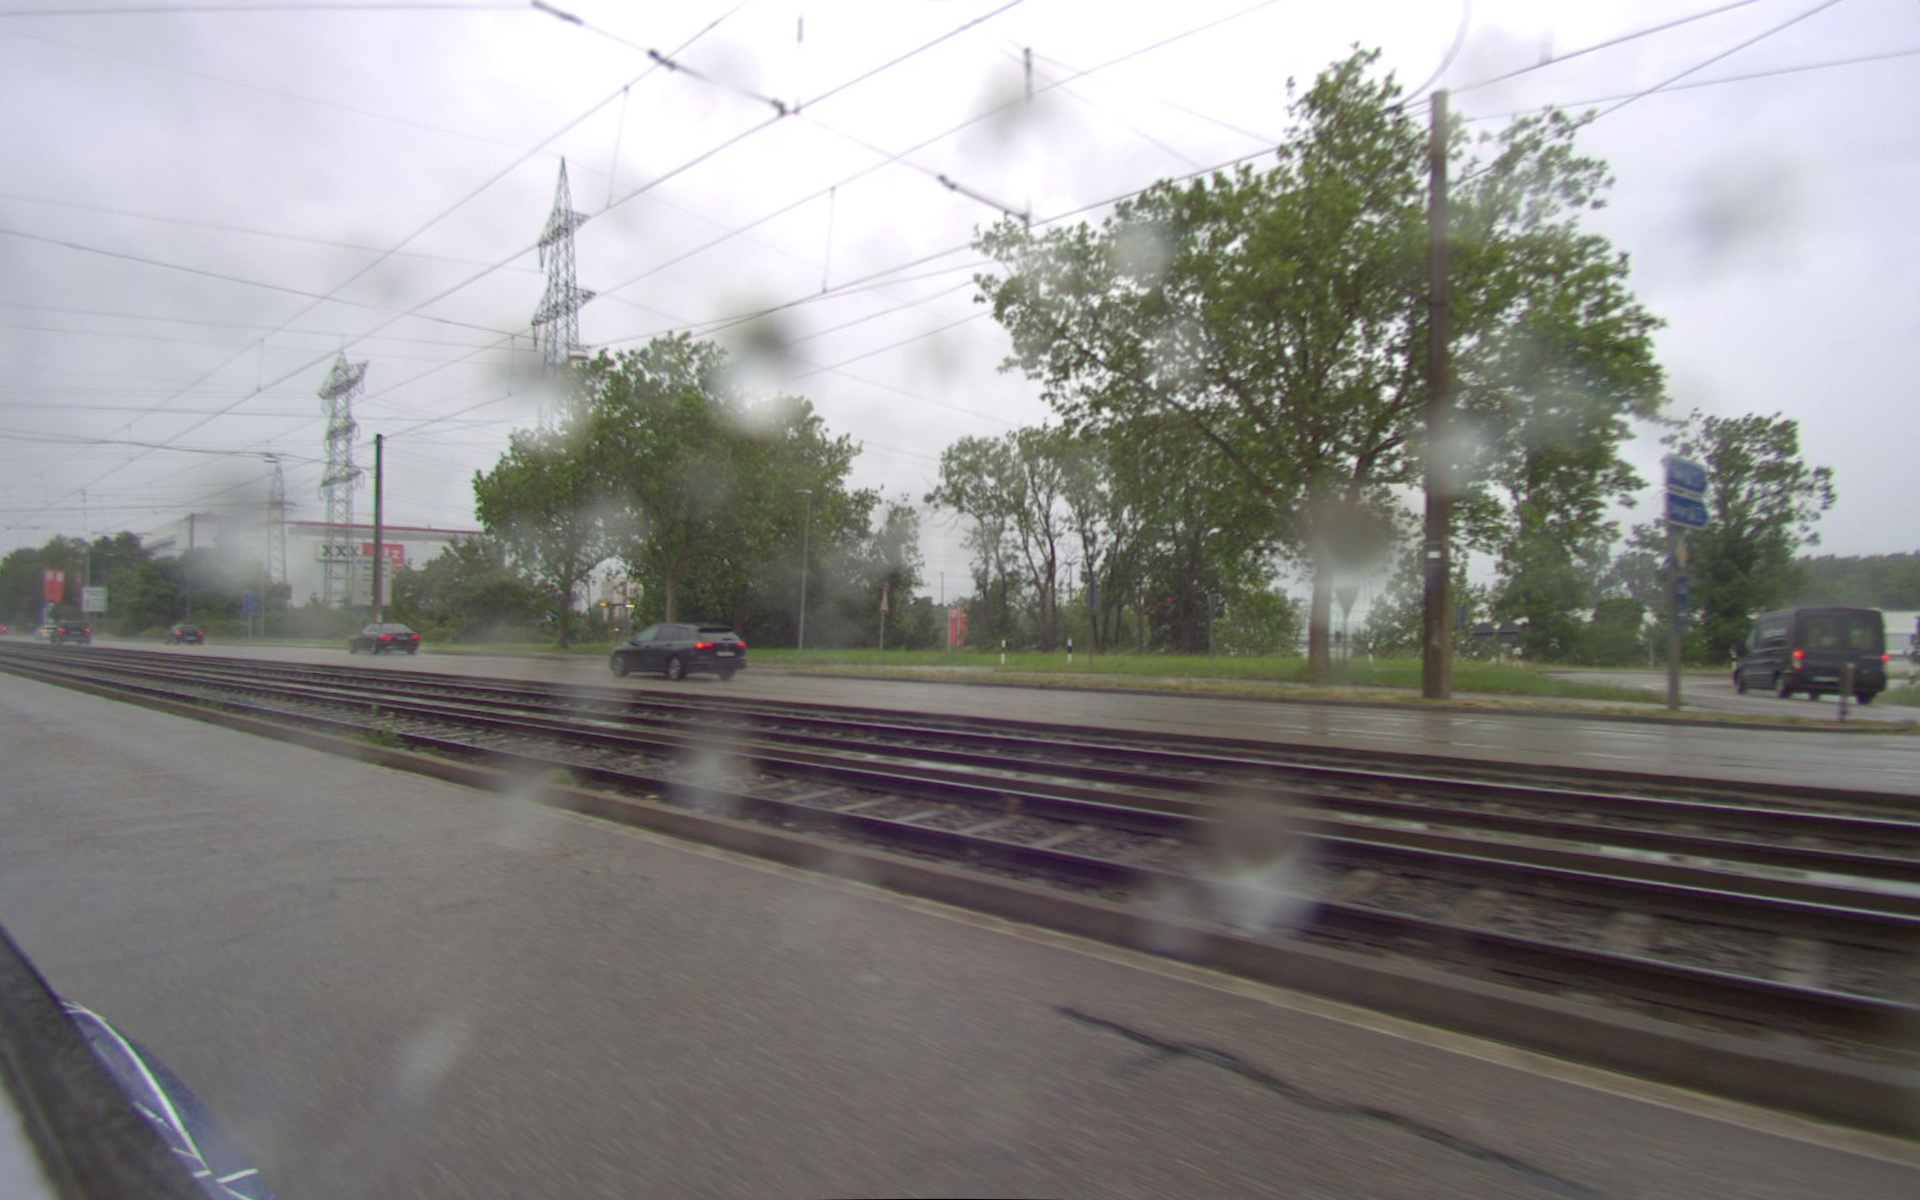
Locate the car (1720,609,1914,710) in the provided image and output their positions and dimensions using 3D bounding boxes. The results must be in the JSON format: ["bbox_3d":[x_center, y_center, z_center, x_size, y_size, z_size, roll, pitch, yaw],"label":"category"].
[{"bbox_3d":[23.125,1.507,27.670,2.324,2.444,5.803,-2,-1,23],"label":"car"}]

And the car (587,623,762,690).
[{"bbox_3d":[-7.624,1.467,26.696,5.309,1.561,1.772,-3,-1,40],"label":"car"}]

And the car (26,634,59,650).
[{"bbox_3d":[-83.313,3.819,91.863,4.543,1.364,1.723,-3,-2,41],"label":"car"}]

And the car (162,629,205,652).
[{"bbox_3d":[-55.857,2.918,72.787,3.997,1.564,1.672,-3,-2,40],"label":"car"}]

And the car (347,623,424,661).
[{"bbox_3d":[-27.900,2.034,49.089,4.647,1.699,1.822,-3,-2,41],"label":"car"}]

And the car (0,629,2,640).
[{"bbox_3d":[-138.095,4.921,144.246,5.252,1.475,1.971,-3,-5,44],"label":"car"}]

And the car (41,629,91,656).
[{"bbox_3d":[-62.928,3.001,71.230,4.999,1.823,1.868,-3,-1,39],"label":"car"}]
